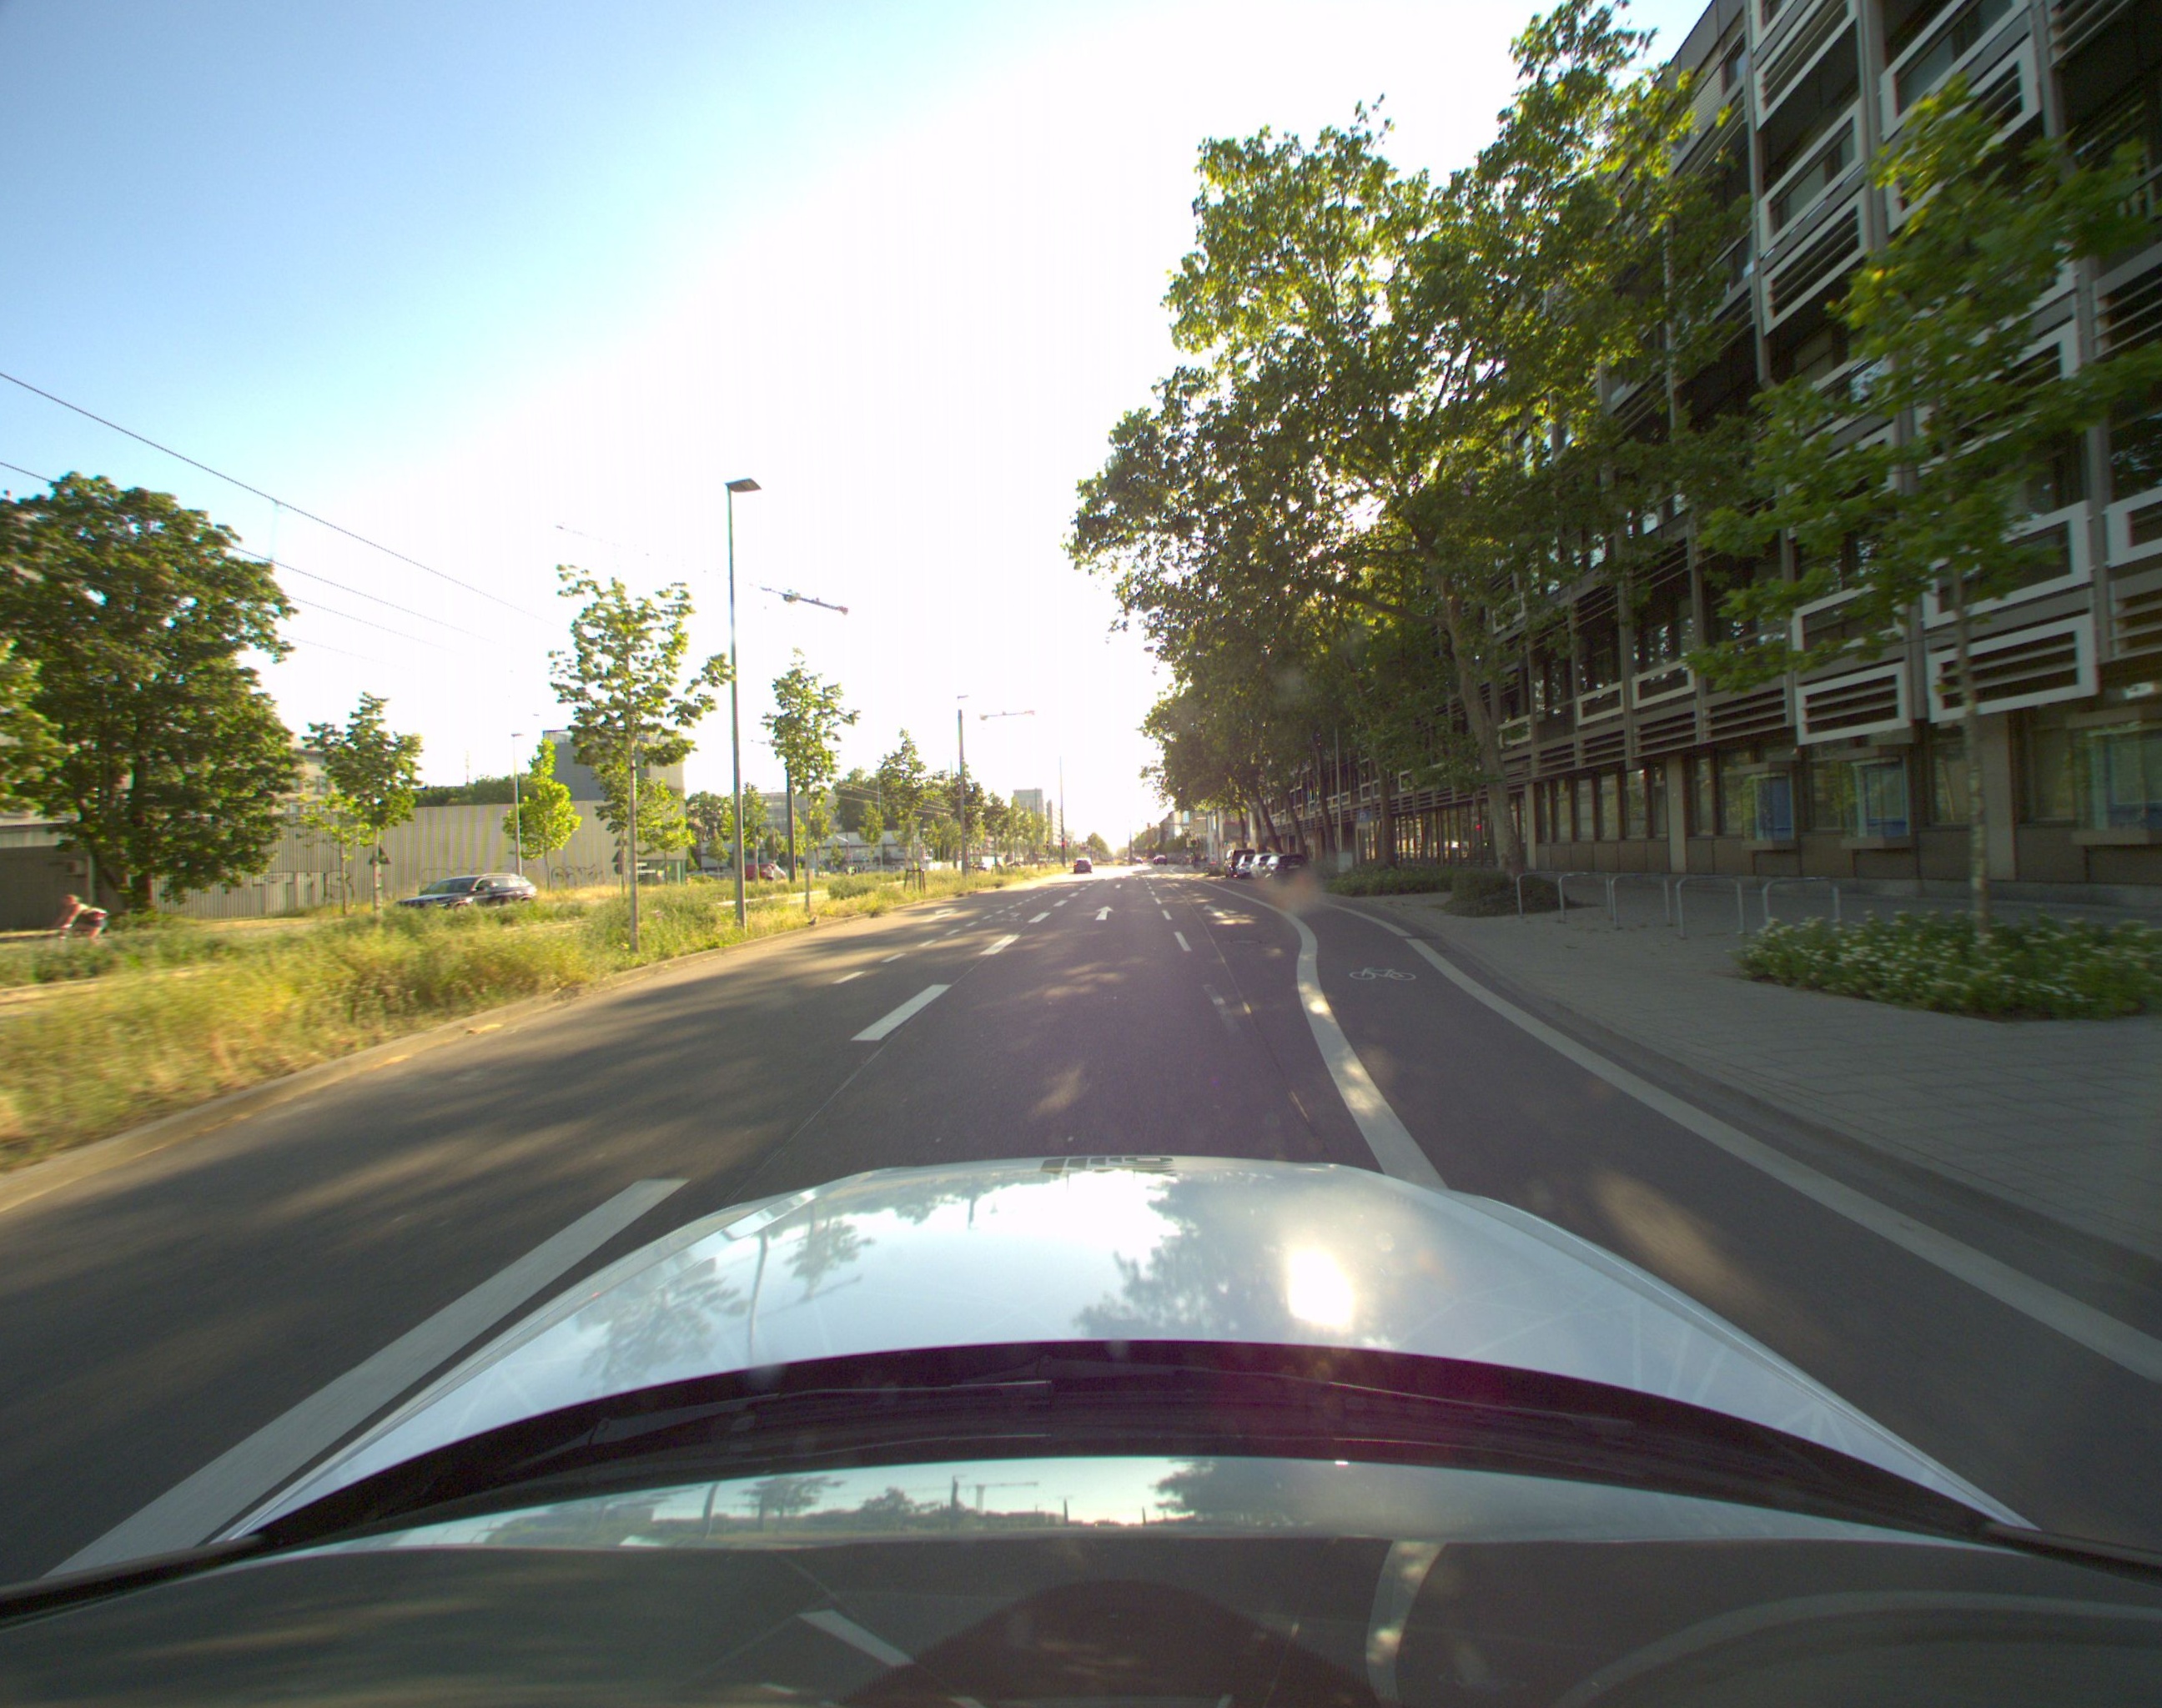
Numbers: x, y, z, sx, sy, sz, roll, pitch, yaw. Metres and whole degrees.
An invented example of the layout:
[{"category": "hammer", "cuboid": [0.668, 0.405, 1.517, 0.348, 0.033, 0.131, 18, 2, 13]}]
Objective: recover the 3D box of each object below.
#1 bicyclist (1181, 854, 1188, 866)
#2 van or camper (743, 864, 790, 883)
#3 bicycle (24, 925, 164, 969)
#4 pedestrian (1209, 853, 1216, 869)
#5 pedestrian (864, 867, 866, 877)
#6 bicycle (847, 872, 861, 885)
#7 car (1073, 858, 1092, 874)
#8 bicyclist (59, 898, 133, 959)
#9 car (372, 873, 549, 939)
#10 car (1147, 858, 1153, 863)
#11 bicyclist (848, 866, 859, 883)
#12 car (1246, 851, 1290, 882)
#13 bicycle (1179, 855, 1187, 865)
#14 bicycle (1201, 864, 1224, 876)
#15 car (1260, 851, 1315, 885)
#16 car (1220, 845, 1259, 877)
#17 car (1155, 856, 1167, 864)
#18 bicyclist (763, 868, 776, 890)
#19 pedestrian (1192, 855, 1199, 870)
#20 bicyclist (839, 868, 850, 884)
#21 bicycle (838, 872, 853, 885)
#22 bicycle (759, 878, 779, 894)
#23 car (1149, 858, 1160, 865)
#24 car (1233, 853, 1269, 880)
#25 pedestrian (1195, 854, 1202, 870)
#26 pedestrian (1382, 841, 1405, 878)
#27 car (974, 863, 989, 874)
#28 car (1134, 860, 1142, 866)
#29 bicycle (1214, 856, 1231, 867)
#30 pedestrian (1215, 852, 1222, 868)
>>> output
[{"category": "bicyclist", "cuboid": [13.393, 0.793, 105.677, 0.795, 1.602, 0.787, -2, -1, 9]}, {"category": "van or camper", "cuboid": [-43.614, 2.716, 112.934, 5.634, 2.414, 2.158, -2, 0, 4]}, {"category": "bicycle", "cuboid": [-23.550, 2.198, 19.514, 0.685, 0.804, 2.145, -2, 0, 1]}, {"category": "pedestrian", "cuboid": [17.563, 0.878, 108.461, 0.761, 2.060, 0.799, -4, -1, 9]}, {"category": "pedestrian", "cuboid": [-31.591, 2.669, 119.116, 0.274, 1.465, 0.314, -2, -1, -18]}, {"category": "bicycle", "cuboid": [-20.615, 2.174, 73.870, 0.581, 1.105, 1.990, -2, 0, 4]}, {"category": "car", "cuboid": [0.171, 1.146, 79.486, 1.770, 1.428, 4.001, -1, 0, 2]}, {"category": "bicyclist", "cuboid": [-23.573, 1.774, 19.507, 0.685, 1.346, 0.871, -2, 0, 1]}, {"category": "car", "cuboid": [-19.926, 1.598, 26.483, 1.863, 1.765, 4.815, -2, 0, 2]}, {"category": "car", "cuboid": [22.158, 2.005, 260.299, 1.697, 1.428, 3.927, -2, 0, 2]}, {"category": "bicyclist", "cuboid": [-20.623, 1.861, 73.848, 0.581, 1.442, 1.076, -2, 0, 4]}, {"category": "car", "cuboid": [10.297, 0.662, 45.073, 1.674, 1.478, 3.878, -4, 0, 4]}, {"category": "bicycle", "cuboid": [13.217, 0.754, 105.693, 0.794, 1.204, 2.272, -2, 0, 14]}, {"category": "bicycle", "cuboid": [10.508, 1.300, 65.078, 1.681, 0.867, 0.574, -4, -1, 11]}, {"category": "car", "cuboid": [9.731, 0.639, 38.716, 1.699, 1.418, 4.281, -4, 0, 4]}, {"category": "car", "cuboid": [11.002, 0.490, 56.795, 1.821, 1.971, 5.326, -4, 0, 3]}, {"category": "car", "cuboid": [14.751, 1.080, 149.849, 1.933, 1.428, 3.927, -2, 0, 1]}, {"category": "bicyclist", "cuboid": [-21.793, 1.726, 56.918, 0.554, 1.507, 0.668, -2, -1, 3]}, {"category": "pedestrian", "cuboid": [13.188, 0.984, 93.728, 0.631, 1.608, 0.570, -4, -1, 4]}, {"category": "bicyclist", "cuboid": [-21.330, 1.991, 73.585, 0.581, 1.442, 1.076, -2, 0, 4]}, {"category": "bicycle", "cuboid": [-21.317, 2.206, 73.706, 0.581, 1.105, 1.990, -2, 0, 4]}, {"category": "bicycle", "cuboid": [-21.772, 2.235, 56.899, 0.556, 1.060, 1.900, -2, 0, 3]}, {"category": "car", "cuboid": [15.293, 1.552, 170.320, 1.933, 1.485, 3.927, -2, 0, 1]}, {"category": "car", "cuboid": [10.568, 0.749, 50.901, 1.672, 1.514, 5.069, -4, 0, 7]}, {"category": "pedestrian", "cuboid": [13.619, 0.924, 94.462, 0.631, 1.703, 0.570, -4, -1, 4]}, {"category": "pedestrian", "cuboid": [16.323, 0.279, 42.584, 0.828, 1.856, 0.847, -2, -1, 2]}, {"category": "car", "cuboid": [-17.549, 2.602, 144.087, 1.985, 1.776, 4.003, -2, 0, 3]}, {"category": "car", "cuboid": [14.427, 2.372, 207.349, 1.752, 1.485, 3.851, -2, 0, 2]}, {"category": "bicycle", "cuboid": [16.222, 0.854, 93.298, 1.795, 1.086, 0.479, -4, -1, 4]}, {"category": "pedestrian", "cuboid": [18.219, 0.755, 107.570, 0.761, 2.060, 0.799, -4, -1, 9]}]
